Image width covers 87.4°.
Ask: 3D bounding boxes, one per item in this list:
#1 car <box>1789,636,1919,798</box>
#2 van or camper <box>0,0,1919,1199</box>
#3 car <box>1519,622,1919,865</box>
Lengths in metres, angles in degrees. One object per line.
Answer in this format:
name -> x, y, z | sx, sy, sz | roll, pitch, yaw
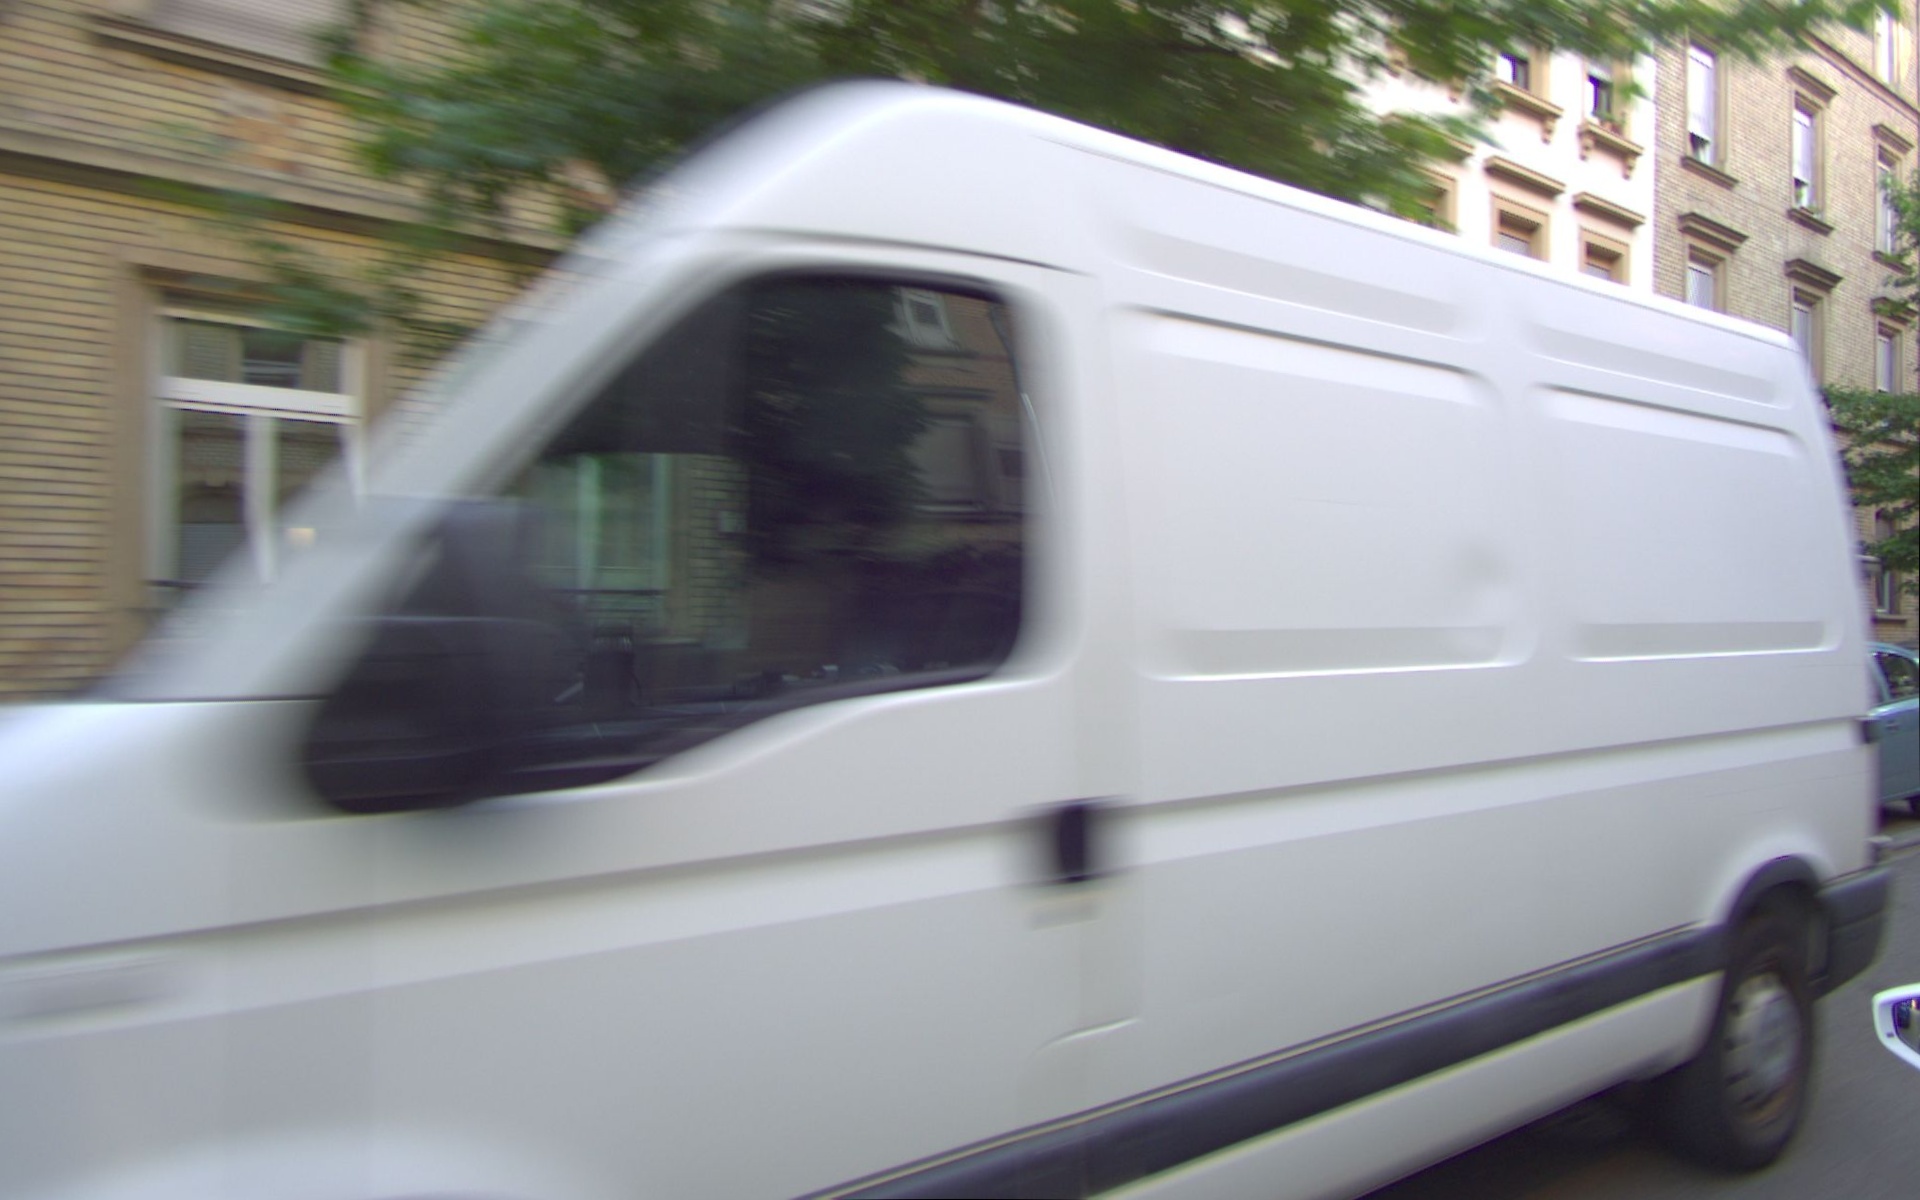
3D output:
car -> 10.622, 1.137, 10.519 | 4.211, 1.482, 1.758 | 1, -1, -32
van or camper -> 0.230, 0.315, 2.782 | 5.594, 2.463, 2.209 | 1, -2, -30
car -> 6.547, 0.974, 8.194 | 4.066, 1.530, 1.675 | 1, -1, -31
